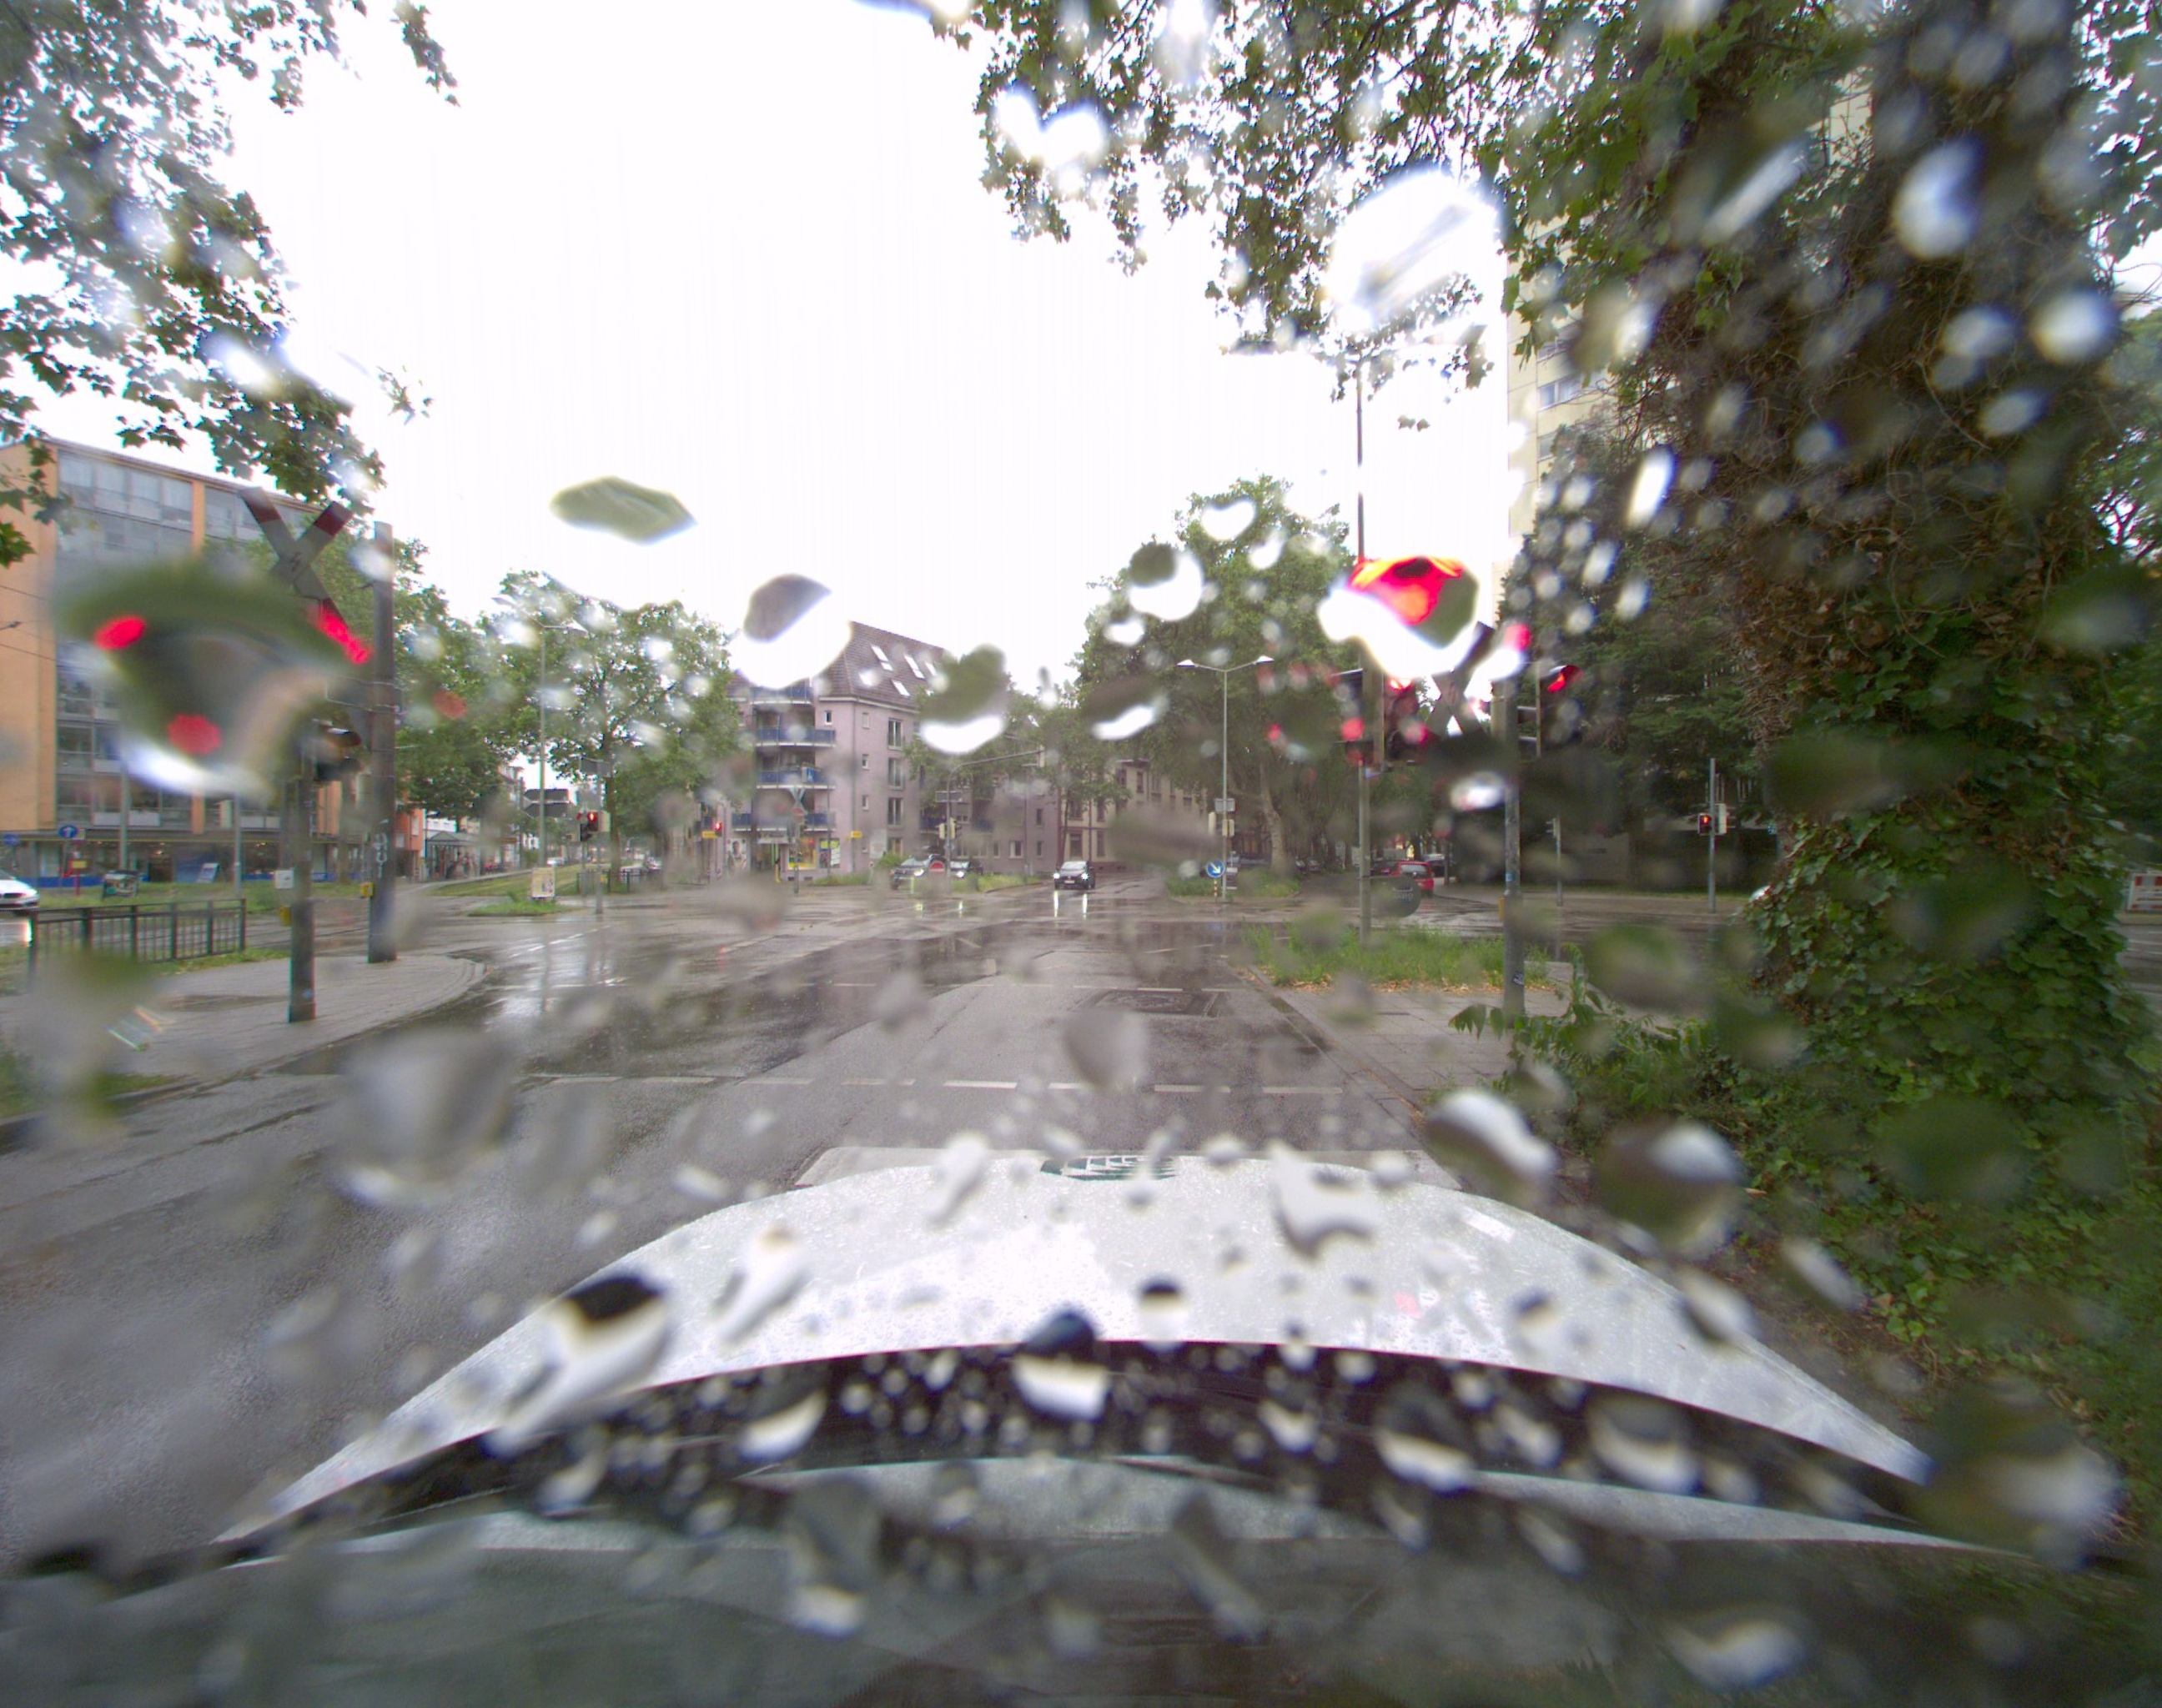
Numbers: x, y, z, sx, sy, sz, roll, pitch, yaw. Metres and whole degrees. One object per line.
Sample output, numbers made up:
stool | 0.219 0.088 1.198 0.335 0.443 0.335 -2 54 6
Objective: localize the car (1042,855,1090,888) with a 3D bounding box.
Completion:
car | -0.717 0.860 41.715 1.591 1.552 3.572 -2 0 13

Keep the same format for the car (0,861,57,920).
car | -32.290 1.105 23.440 3.978 1.651 1.980 -2 0 13

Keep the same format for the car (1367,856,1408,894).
car | 17.828 1.207 47.532 1.977 2.013 4.019 -2 0 18

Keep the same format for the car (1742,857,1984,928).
car | 17.781 0.874 18.730 3.612 1.486 1.733 -2 0 17

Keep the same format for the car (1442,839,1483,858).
car | 42.623 -0.623 91.069 3.953 2.013 1.716 -2 0 21

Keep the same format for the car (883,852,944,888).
car | -7.970 0.738 39.116 1.715 1.552 3.567 -2 0 8

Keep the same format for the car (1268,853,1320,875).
car | 16.998 0.785 65.016 3.571 1.618 1.692 -2 0 30

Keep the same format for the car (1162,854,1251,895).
car | 5.103 0.805 33.020 3.457 1.523 1.524 -2 0 10

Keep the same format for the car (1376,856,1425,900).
car | 15.927 1.159 40.782 1.977 2.013 4.019 -2 0 18

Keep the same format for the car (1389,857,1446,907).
car | 14.859 1.199 36.168 1.977 2.013 4.019 -2 0 18

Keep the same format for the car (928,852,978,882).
car | -7.026 0.701 45.008 1.715 1.552 3.567 -2 0 8
